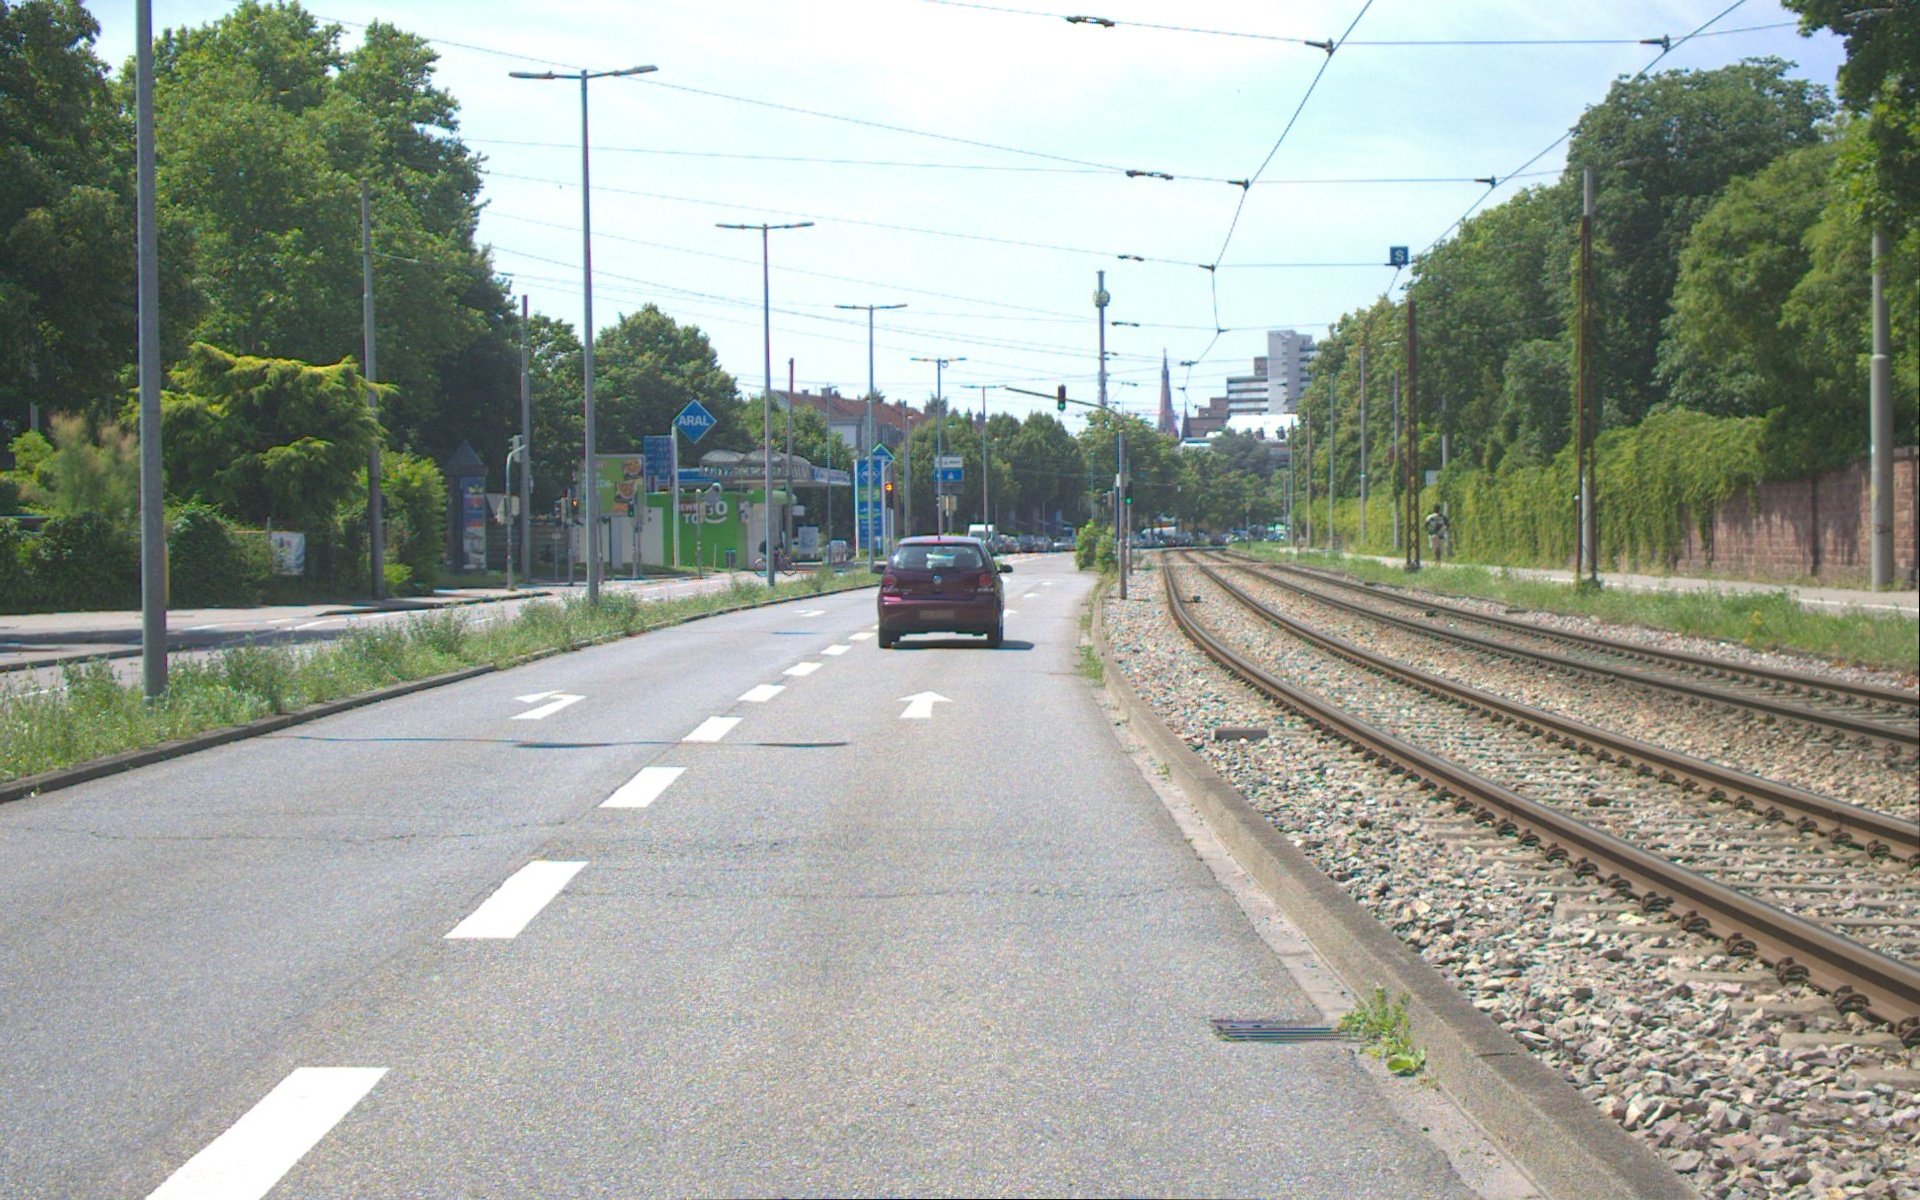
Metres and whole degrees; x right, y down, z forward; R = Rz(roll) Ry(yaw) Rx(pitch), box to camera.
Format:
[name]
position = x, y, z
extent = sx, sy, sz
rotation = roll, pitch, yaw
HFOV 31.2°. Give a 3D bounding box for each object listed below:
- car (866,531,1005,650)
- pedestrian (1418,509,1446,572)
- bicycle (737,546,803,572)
[car]
position = -0.288, -0.117, 45.971
extent = 1.703, 1.472, 3.716
rotation = -1, 0, 1
[pedestrian]
position = 13.072, -1.648, 95.188
extent = 0.661, 1.720, 0.816
rotation = -1, 1, 2
[bicycle]
position = -7.898, -1.697, 142.888
extent = 2.549, 1.034, 1.088
rotation = 1, 0, -13
